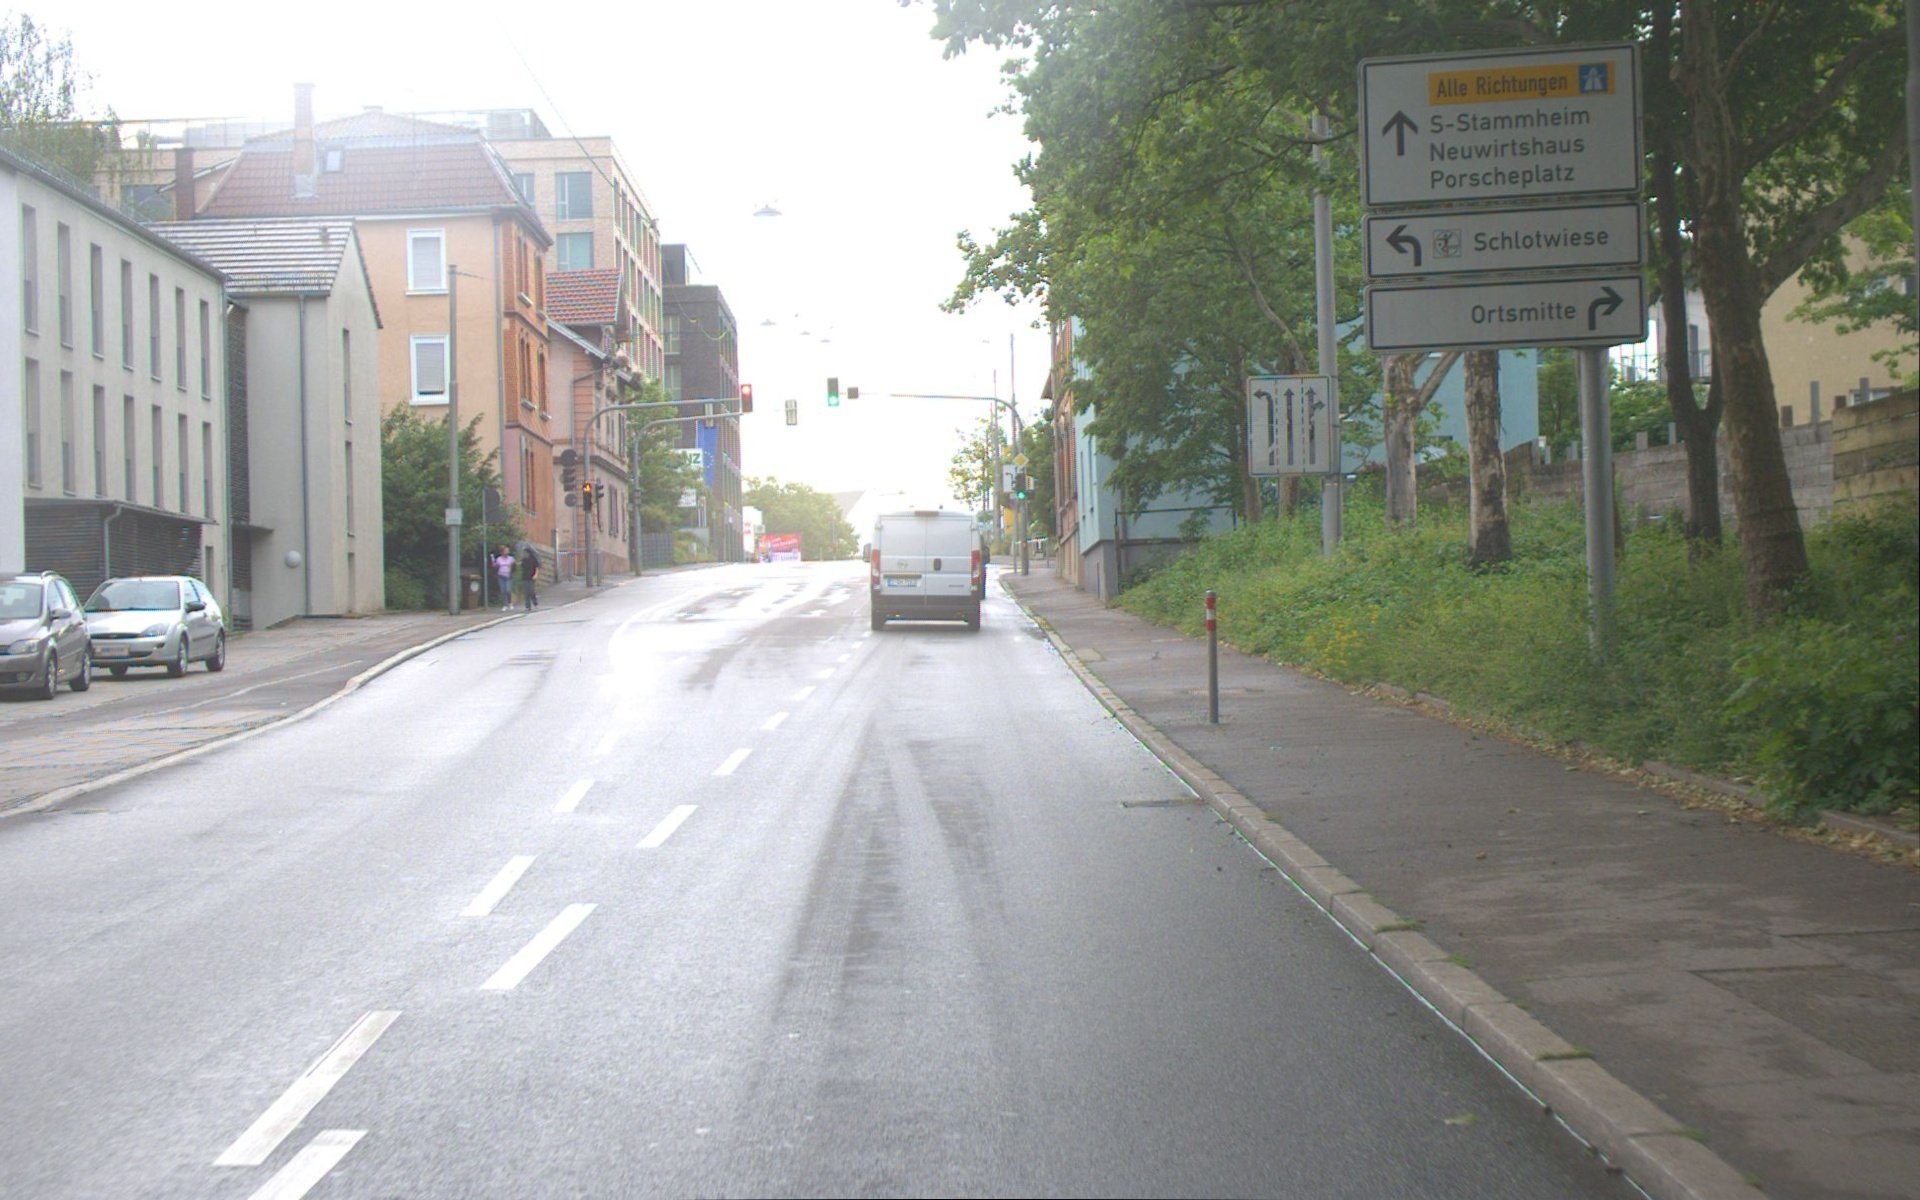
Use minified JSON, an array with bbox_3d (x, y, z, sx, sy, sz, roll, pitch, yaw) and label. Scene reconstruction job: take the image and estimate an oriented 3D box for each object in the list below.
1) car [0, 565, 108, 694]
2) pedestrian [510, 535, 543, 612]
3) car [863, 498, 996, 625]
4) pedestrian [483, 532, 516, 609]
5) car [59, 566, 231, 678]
[{"bbox_3d":[-12.108,0.356,43.645,1.667,1.525,4.096,-2,1,-2],"label":"car"},{"bbox_3d":[-11.385,-0.690,90.398,0.671,2.007,0.941,-1,1,4],"label":"pedestrian"},{"bbox_3d":[-0.549,-0.685,64.493,2.336,2.223,4.000,-2,-1,0],"label":"car"},{"bbox_3d":[-12.125,-0.767,90.466,0.671,2.007,0.941,-1,1,4],"label":"pedestrian"},{"bbox_3d":[-11.941,0.290,50.608,1.667,1.525,4.096,-2,1,-2],"label":"car"}]
